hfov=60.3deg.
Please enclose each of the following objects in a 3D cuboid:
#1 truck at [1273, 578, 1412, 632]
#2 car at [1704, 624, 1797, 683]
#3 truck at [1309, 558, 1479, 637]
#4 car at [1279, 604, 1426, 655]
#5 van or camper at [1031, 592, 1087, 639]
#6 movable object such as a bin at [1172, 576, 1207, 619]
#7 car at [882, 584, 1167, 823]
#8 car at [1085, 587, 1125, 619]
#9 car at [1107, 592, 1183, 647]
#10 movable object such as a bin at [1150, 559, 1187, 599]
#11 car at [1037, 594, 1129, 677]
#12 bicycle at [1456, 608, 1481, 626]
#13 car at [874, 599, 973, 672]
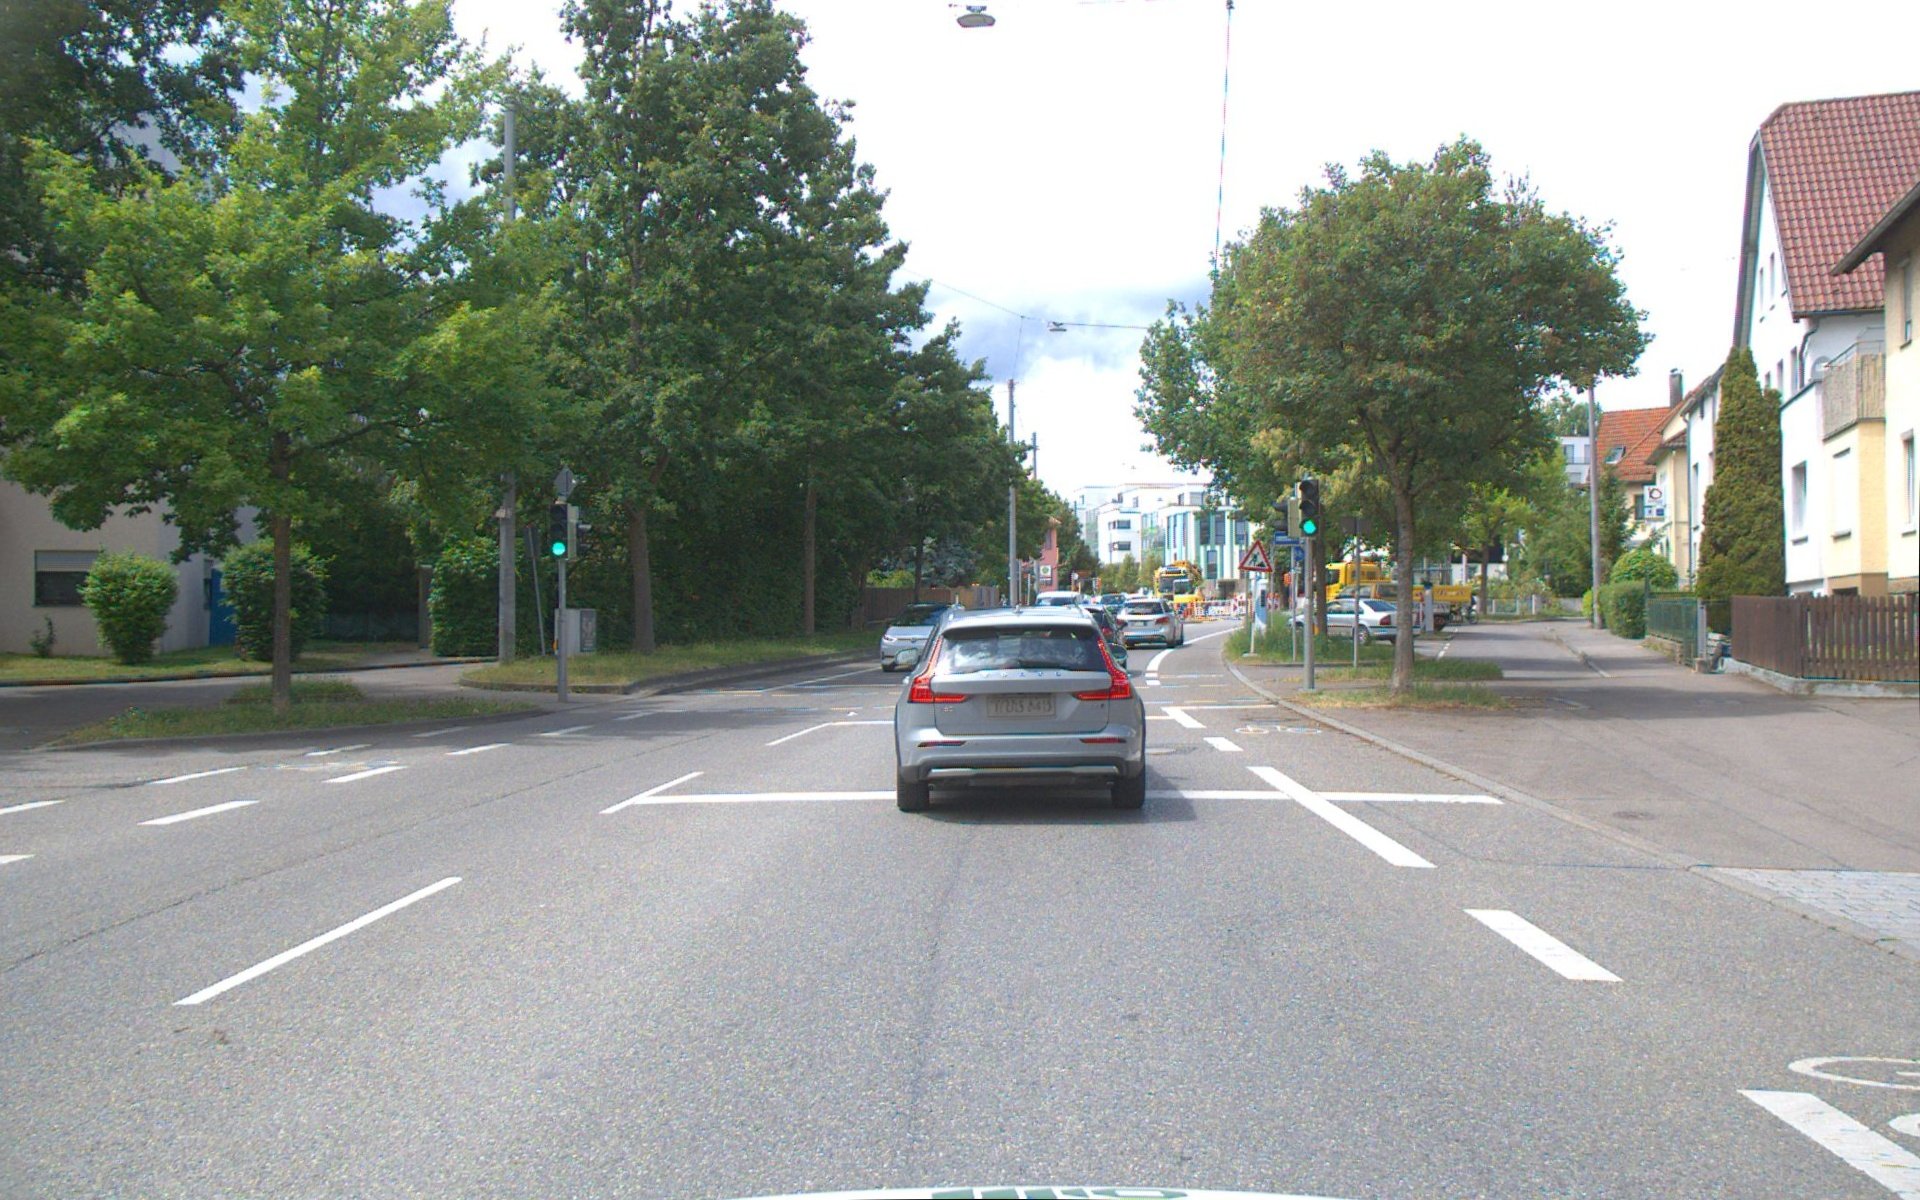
[{"bbox_3d":[15.436,0.199,67.001,1.977,2.049,5.608,3,-1,-35],"label":"truck"},{"bbox_3d":[16.853,1.126,35.381,1.432,1.144,3.872,2,-1,21],"label":"car"},{"bbox_3d":[17.968,-0.104,68.780,2.738,3.061,6.624,3,-1,-35],"label":"truck"},{"bbox_3d":[12.330,0.896,52.260,1.746,1.477,4.636,0,0,-33],"label":"car"},{"bbox_3d":[3.964,0.581,65.765,1.821,1.807,4.384,0,0,8],"label":"van or camper"},{"bbox_3d":[14.874,-0.170,107.169,1.991,2.689,5.945,-1,0,10],"label":"movable object such as a bin"},{"bbox_3d":[0.531,0.724,13.176,1.888,1.567,4.001,-2,-1,3],"label":"car"},{"bbox_3d":[8.303,0.188,94.629,1.840,1.717,4.251,-2,0,10],"label":"car"},{"bbox_3d":[5.689,0.606,50.507,2.057,1.536,4.003,2,-1,9],"label":"car"},{"bbox_3d":[16.422,-1.604,130.657,2.262,3.042,6.428,-1,0,2],"label":"movable object such as a bin"},{"bbox_3d":[2.463,0.718,33.799,1.627,1.534,3.703,2,-1,1],"label":"car"},{"bbox_3d":[23.748,0.783,77.282,0.582,0.826,1.753,2,-1,-2],"label":"bicycle"},{"bbox_3d":[-0.810,0.838,39.664,1.858,1.607,4.002,-2,-1,6],"label":"car"}]
